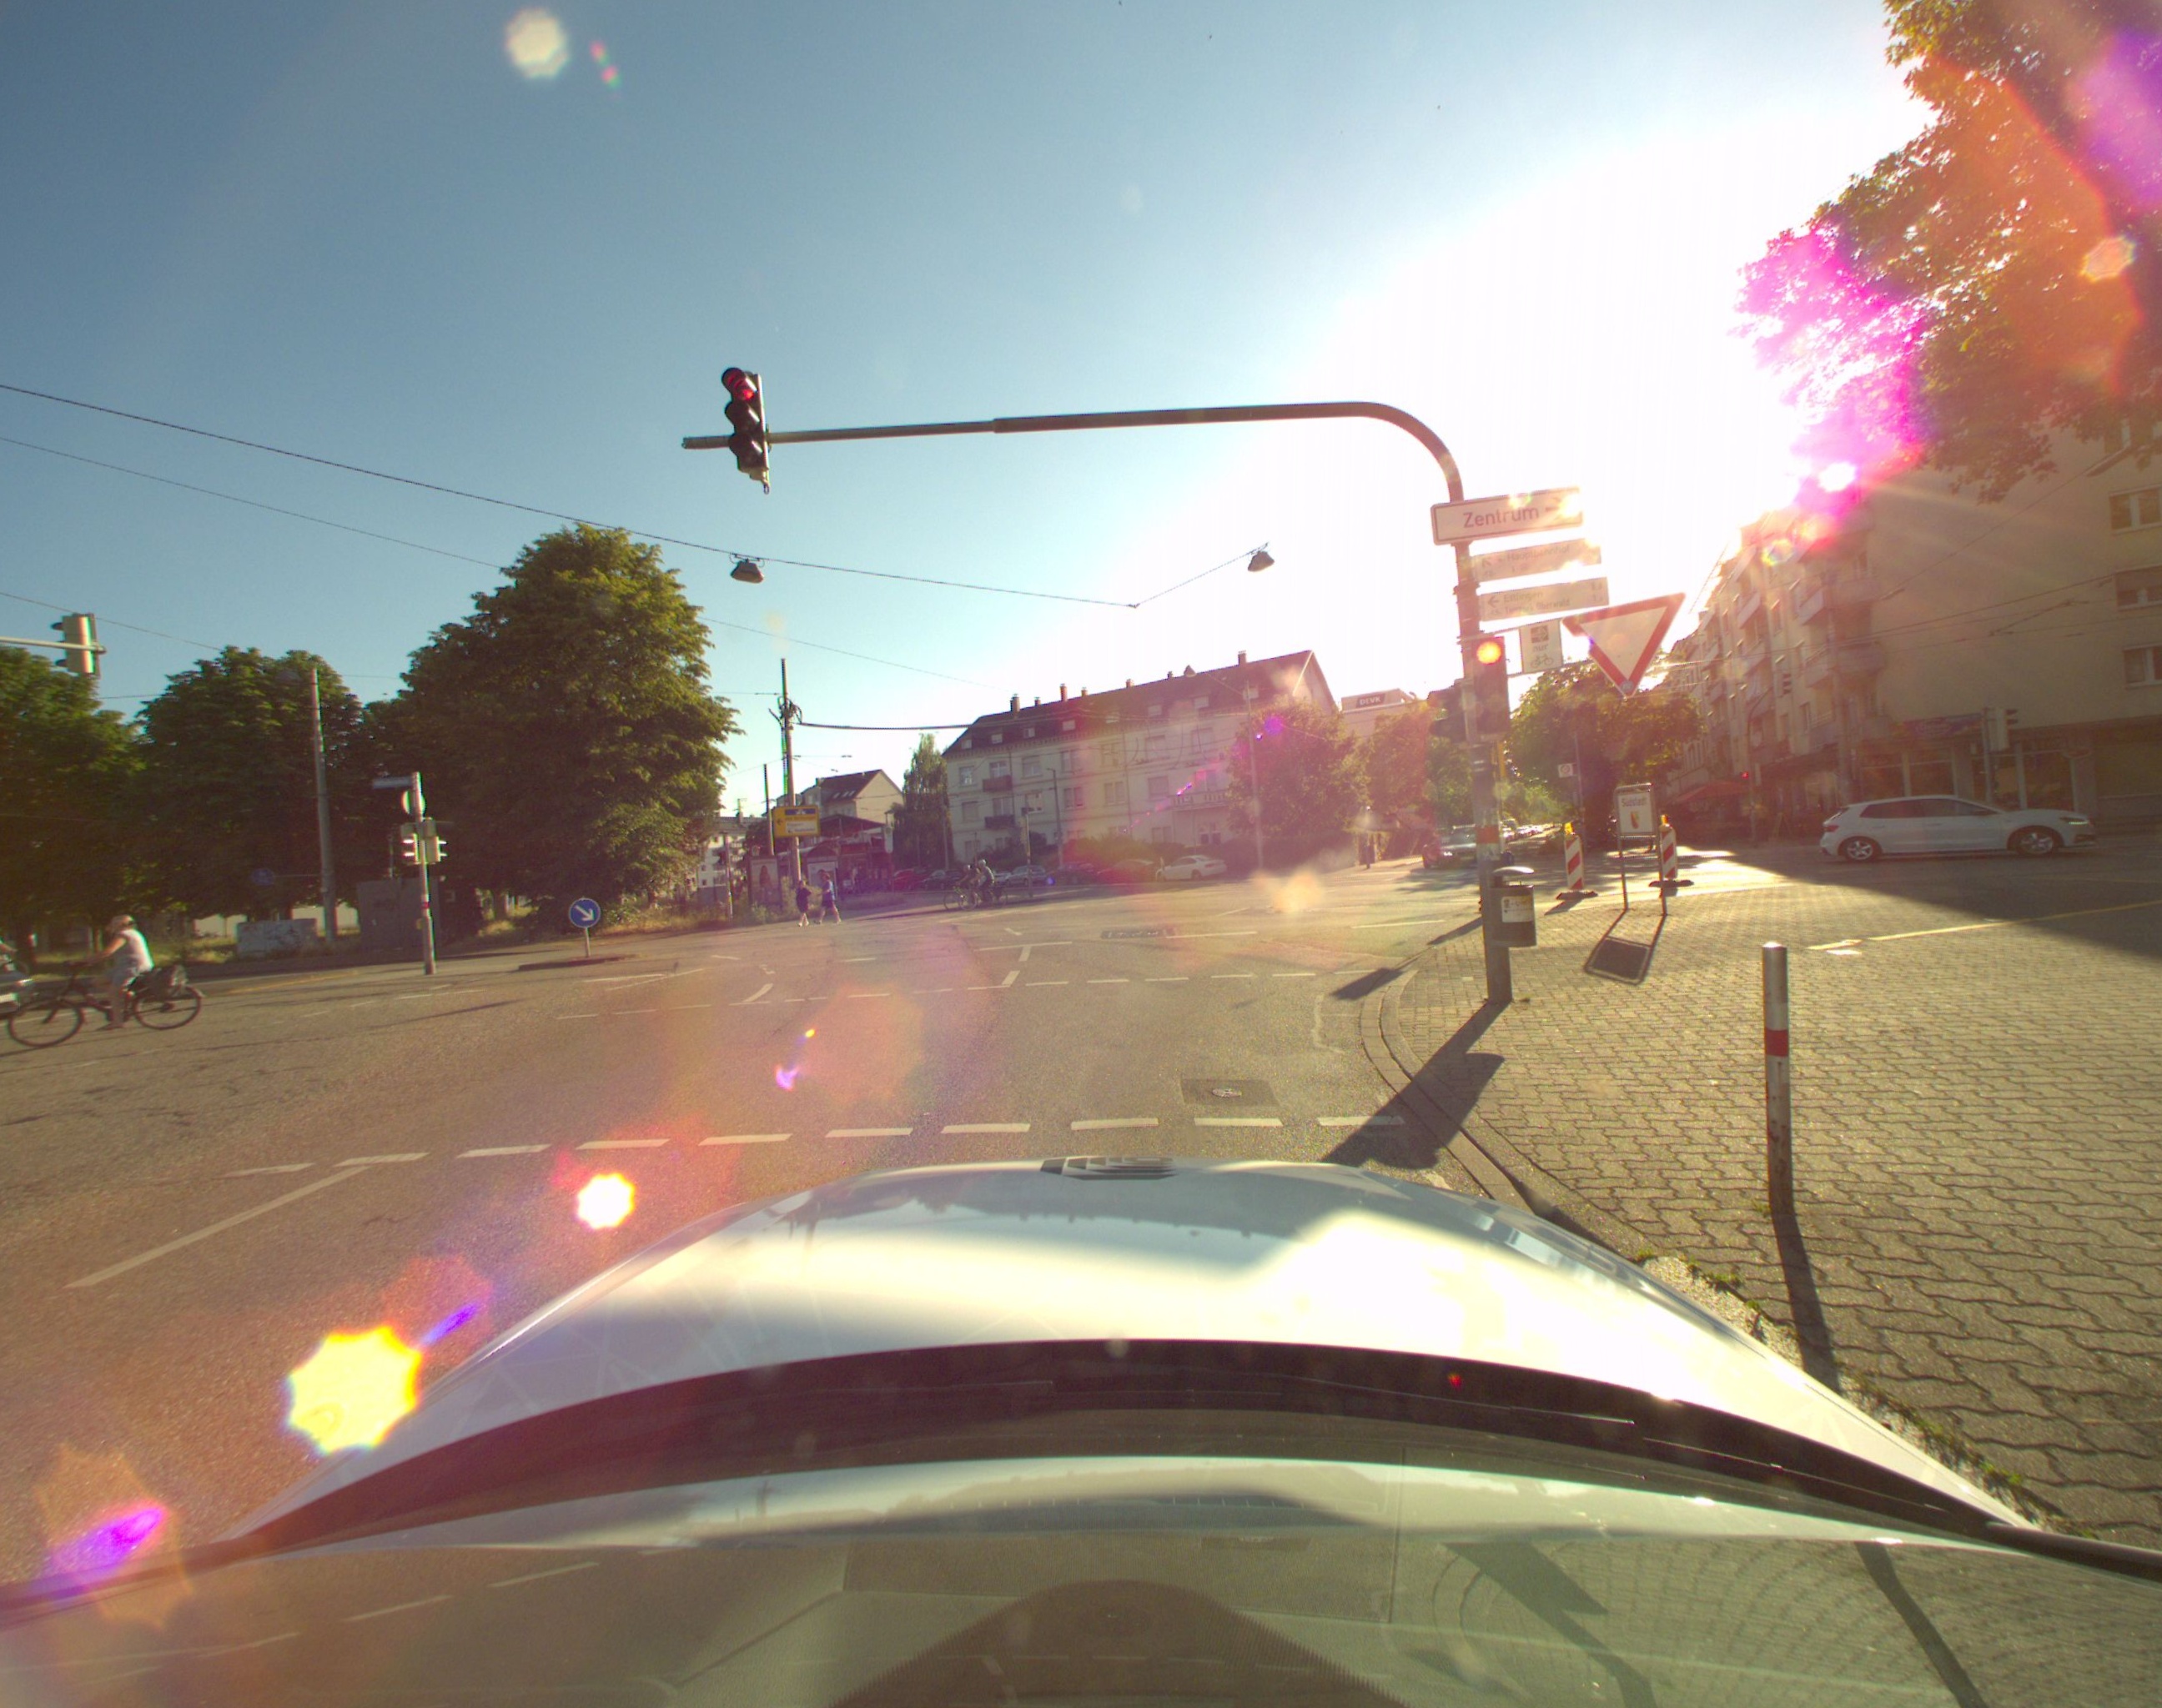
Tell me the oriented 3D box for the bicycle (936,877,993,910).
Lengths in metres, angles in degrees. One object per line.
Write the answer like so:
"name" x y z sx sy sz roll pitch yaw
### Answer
"bicycle" -4.308 1.454 30.195 2.010 1.069 0.662 -4 -1 -6

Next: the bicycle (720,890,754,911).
"bicycle" -20.266 2.722 48.014 0.657 1.069 2.027 -4 0 14

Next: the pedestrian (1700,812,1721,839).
"pedestrian" 34.056 -1.528 44.061 0.803 1.362 0.920 -5 -1 36

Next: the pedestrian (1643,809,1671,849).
"pedestrian" 26.053 -1.121 36.817 0.799 1.750 0.710 -4 -1 -38

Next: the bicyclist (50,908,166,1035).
"bicyclist" -13.592 1.604 11.410 0.862 1.605 0.768 -4 -1 -41

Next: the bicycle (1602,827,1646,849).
"bicycle" 26.870 -0.773 40.321 1.707 0.932 0.565 -5 -1 31

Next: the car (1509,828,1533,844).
"car" 56.649 -2.361 104.842 2.332 1.795 5.344 -5 -1 32

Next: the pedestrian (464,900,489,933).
"pedestrian" -37.089 3.820 49.976 0.937 1.872 0.688 -4 -1 5

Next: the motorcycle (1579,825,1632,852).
"motorcycle" 24.969 -0.719 38.803 1.933 1.109 0.842 -5 -1 26

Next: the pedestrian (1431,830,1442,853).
"pedestrian" 26.919 -0.961 61.684 0.573 1.730 0.612 -4 -1 26

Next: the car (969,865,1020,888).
"car" -6.585 1.727 61.676 1.855 1.447 3.912 -7 1 -39

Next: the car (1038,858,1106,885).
"car" -0.668 1.195 54.796 1.998 1.447 4.650 -7 1 -39

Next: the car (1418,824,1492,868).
"car" 15.201 -0.288 33.315 1.880 1.564 4.410 -5 -2 14

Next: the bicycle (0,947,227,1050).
"bicycle" -13.540 1.976 11.430 2.030 1.069 0.656 -4 -1 -40

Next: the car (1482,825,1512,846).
"car" 39.718 -1.798 77.668 2.332 1.795 5.343 -5 -1 28

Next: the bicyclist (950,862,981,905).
"bicyclist" -4.274 1.087 30.203 1.033 1.532 0.659 -4 -1 -6

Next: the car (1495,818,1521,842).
"car" 47.948 -2.704 91.343 2.332 2.514 5.343 -5 -1 28

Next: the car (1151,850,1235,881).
"car" 6.272 0.672 46.124 1.941 1.376 4.443 -7 1 -40

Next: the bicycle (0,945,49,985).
"bicycle" -34.836 3.617 26.121 2.195 1.142 0.698 -4 -1 -11

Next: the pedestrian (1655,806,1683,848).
"pedestrian" 25.837 -1.191 35.763 0.799 1.750 0.685 -4 -1 -38

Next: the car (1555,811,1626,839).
"car" 44.683 -2.516 71.616 5.042 1.924 2.377 -5 -2 28

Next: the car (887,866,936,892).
"car" -15.201 2.231 72.763 2.067 1.961 5.091 -7 1 -39

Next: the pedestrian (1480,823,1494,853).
"pedestrian" 25.896 -1.025 51.959 0.655 1.839 0.687 -4 -1 30

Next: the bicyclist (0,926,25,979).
"bicyclist" -34.933 3.191 26.108 1.038 1.629 0.711 -4 -1 -10

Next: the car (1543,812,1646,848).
"car" 34.254 -1.547 54.545 5.567 1.924 2.377 -5 -2 28

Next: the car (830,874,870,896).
"car" -23.843 3.192 83.948 2.067 1.961 5.091 -7 1 -39

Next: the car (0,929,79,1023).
"car" -21.393 2.370 14.631 4.415 1.567 2.057 -4 0 5

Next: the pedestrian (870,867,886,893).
"pedestrian" -16.483 2.139 66.053 0.928 2.013 0.760 -4 0 -34

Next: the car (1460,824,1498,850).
"car" 31.693 -1.339 64.749 2.332 1.795 5.343 -5 -1 28

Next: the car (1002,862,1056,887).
"car" -3.742 1.456 58.115 1.998 1.447 3.676 -7 1 -39

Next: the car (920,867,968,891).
"car" -11.405 2.073 67.628 1.855 1.667 4.319 -7 1 -39

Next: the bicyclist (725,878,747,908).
"bicyclist" -20.327 2.285 47.981 0.663 1.652 0.890 -4 -1 13

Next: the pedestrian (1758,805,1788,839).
"pedestrian" 33.713 -1.560 39.686 0.804 1.544 0.919 -5 -1 25

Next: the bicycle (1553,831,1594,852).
"bicycle" 24.920 -0.642 41.197 1.707 0.932 0.676 -5 -1 31

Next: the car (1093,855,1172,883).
"car" 3.125 0.942 50.195 1.999 1.376 4.647 -7 1 -44

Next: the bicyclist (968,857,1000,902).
"bicyclist" -3.461 0.907 29.201 1.033 1.532 0.696 -4 -1 -7

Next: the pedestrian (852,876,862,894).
"pedestrian" -18.450 2.548 67.055 0.569 1.500 0.672 -4 -1 -27

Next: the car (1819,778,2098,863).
"car" 19.100 -0.687 17.885 1.906 1.486 3.954 -4 -1 -38

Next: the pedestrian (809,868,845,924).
"pedestrian" -9.179 1.493 29.449 0.910 1.925 1.065 -4 -1 -5

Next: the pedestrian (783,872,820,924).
"pedestrian" -10.018 1.549 29.232 0.910 1.747 1.065 -4 -1 -5

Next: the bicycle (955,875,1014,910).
"bicycle" -3.463 1.380 29.196 2.011 1.069 0.662 -4 0 -7

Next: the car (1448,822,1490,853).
"car" 28.389 -1.236 59.444 2.332 2.013 5.343 -5 -1 28

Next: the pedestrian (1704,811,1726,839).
"pedestrian" 33.377 -1.532 42.907 0.803 1.362 0.920 -5 -1 36

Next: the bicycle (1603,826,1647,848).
"bicycle" 26.471 -0.820 39.657 1.707 0.932 0.565 -5 -1 31
